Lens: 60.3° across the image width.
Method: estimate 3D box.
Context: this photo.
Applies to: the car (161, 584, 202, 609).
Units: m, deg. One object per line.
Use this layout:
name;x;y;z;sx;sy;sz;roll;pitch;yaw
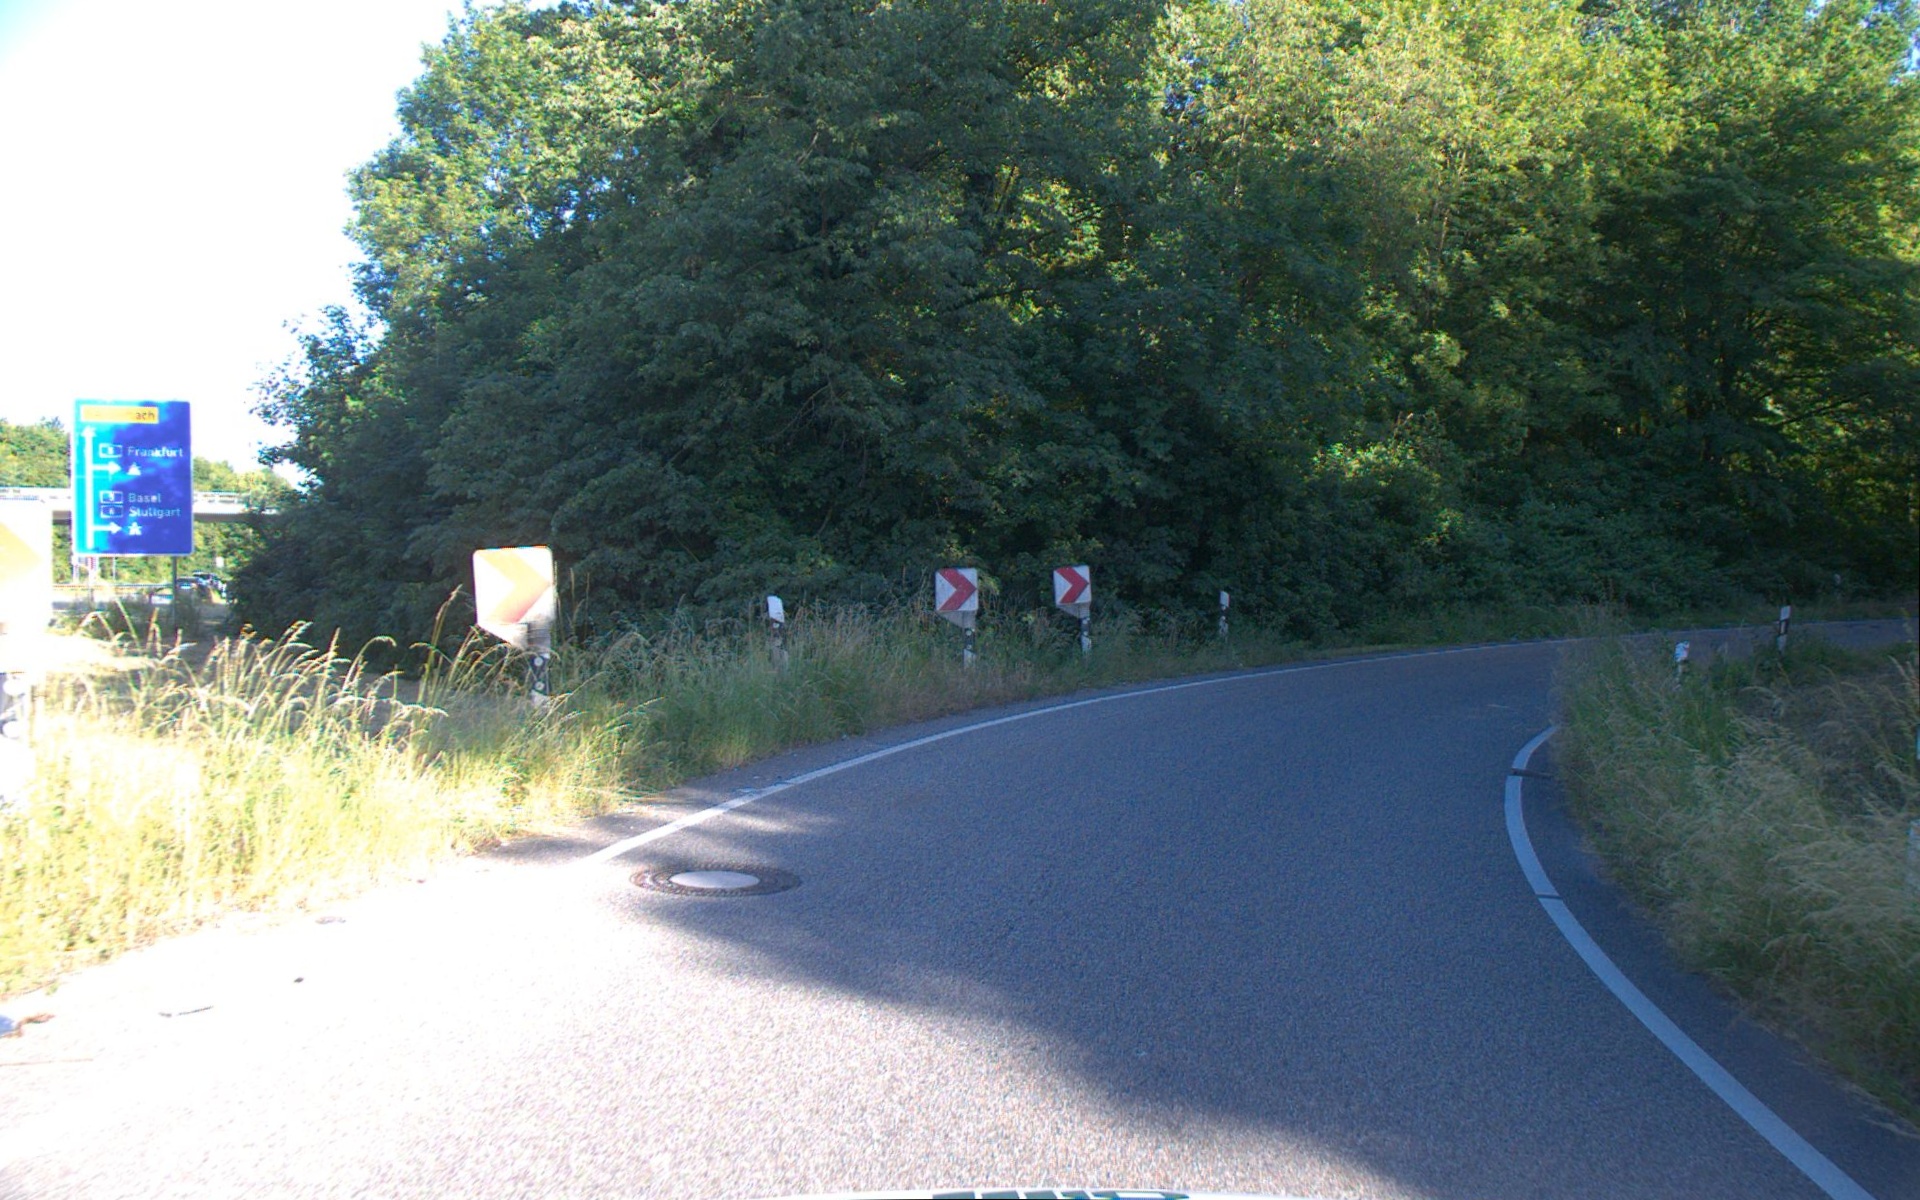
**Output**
car;-53.274;-0.246;113.213;1.709;1.691;3.932;0;0;-13
